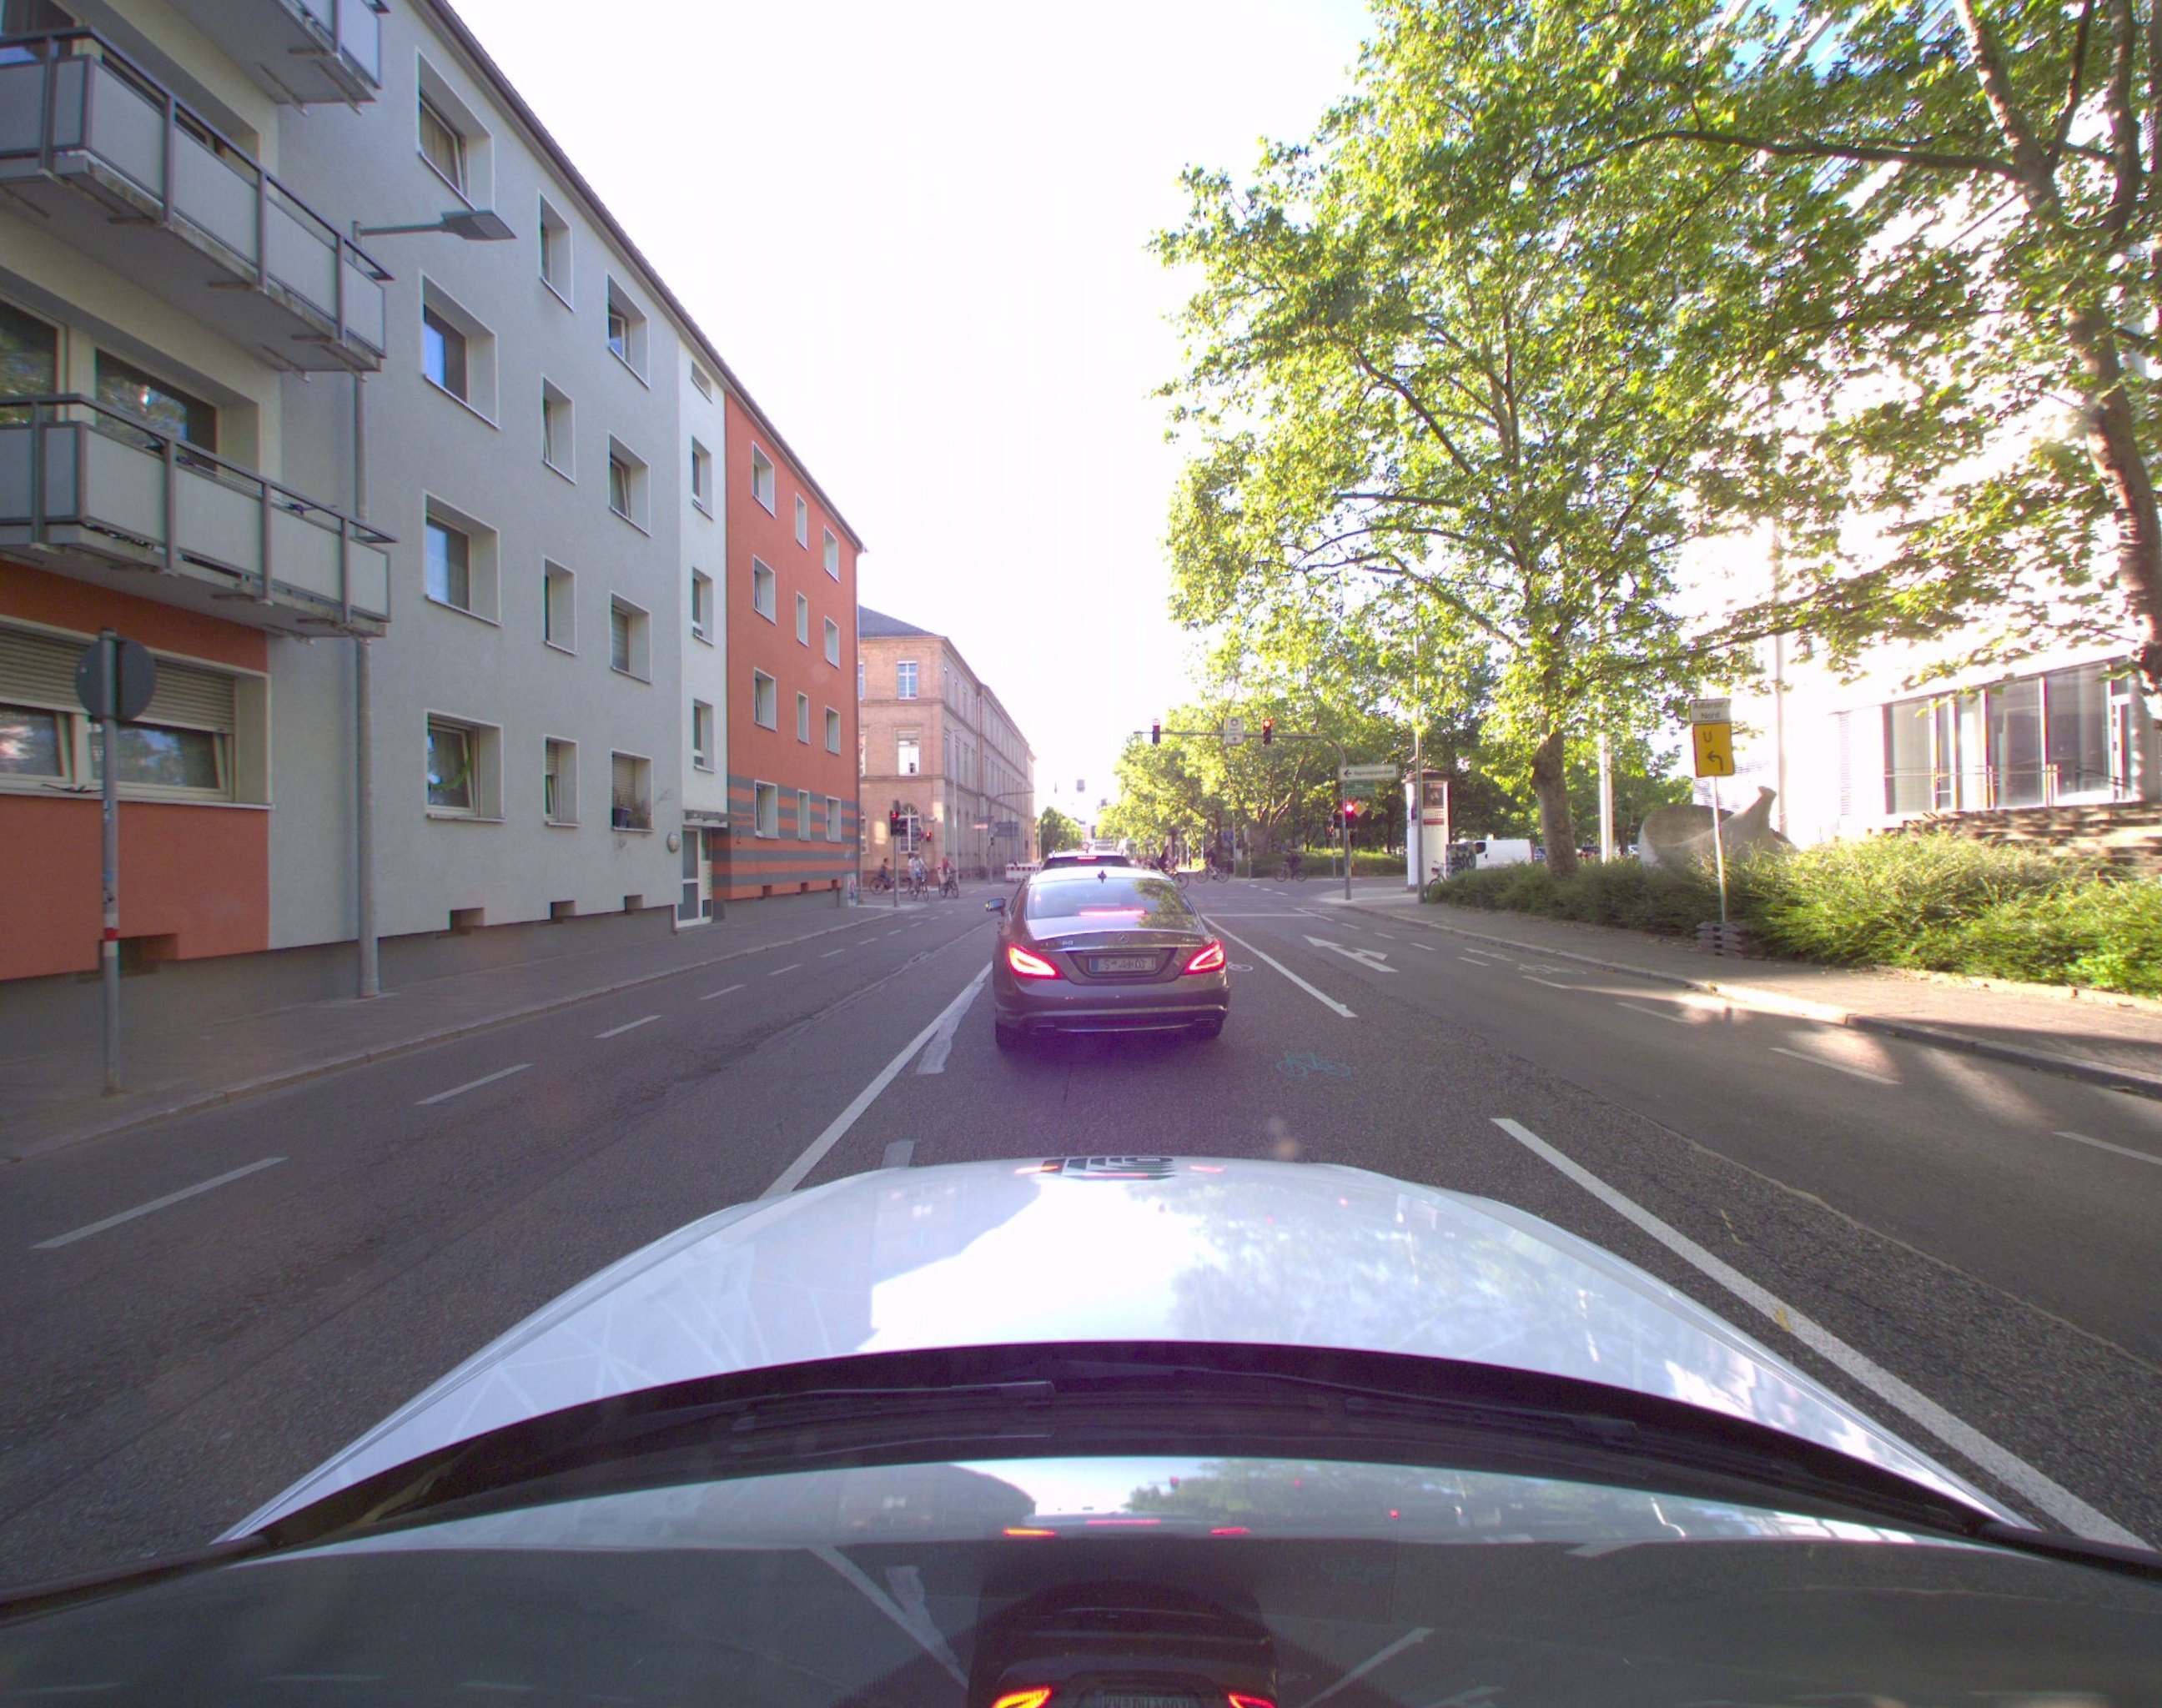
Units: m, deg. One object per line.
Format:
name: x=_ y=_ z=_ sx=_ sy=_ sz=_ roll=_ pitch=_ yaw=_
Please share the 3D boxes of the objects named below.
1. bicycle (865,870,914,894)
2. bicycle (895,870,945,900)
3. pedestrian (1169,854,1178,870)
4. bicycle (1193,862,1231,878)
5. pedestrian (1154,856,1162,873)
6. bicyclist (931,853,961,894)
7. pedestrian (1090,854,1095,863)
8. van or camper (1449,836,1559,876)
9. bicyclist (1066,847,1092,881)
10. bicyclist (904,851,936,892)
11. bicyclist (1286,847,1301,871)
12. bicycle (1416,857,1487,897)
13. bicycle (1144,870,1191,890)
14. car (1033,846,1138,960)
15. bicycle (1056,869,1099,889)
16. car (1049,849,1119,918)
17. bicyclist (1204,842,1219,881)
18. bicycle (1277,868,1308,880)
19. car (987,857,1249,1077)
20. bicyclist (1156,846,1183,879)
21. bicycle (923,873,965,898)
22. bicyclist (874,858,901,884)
bicycle: x=-8.510 y=1.237 z=36.256 sx=1.971 sy=1.027 sz=0.652 roll=-1 pitch=0 yaw=4
bicycle: x=-6.203 y=1.176 z=31.282 sx=1.812 sy=1.079 sz=0.871 roll=-1 pitch=0 yaw=35
pedestrian: x=8.087 y=0.713 z=71.191 sx=0.646 sy=1.433 sz=0.659 roll=-1 pitch=0 yaw=1
bicycle: x=6.919 y=0.835 z=43.025 sx=1.889 sy=0.837 sz=0.457 roll=-1 pitch=0 yaw=-6
pedestrian: x=6.797 y=0.921 z=71.763 sx=0.646 sy=1.503 sz=0.637 roll=-1 pitch=0 yaw=1
bicyclist: x=-5.351 y=0.757 z=32.243 sx=0.691 sy=1.578 sz=0.970 roll=-1 pitch=0 yaw=-44
pedestrian: x=1.993 y=0.799 z=138.777 sx=0.799 sy=1.576 sz=0.845 roll=-1 pitch=0 yaw=1
van or camper: x=21.577 y=0.093 z=41.668 sx=4.565 sy=1.941 sz=1.999 roll=-1 pitch=0 yaw=-1
bicyclist: x=-0.074 y=0.474 z=37.235 sx=1.069 sy=1.519 sz=0.718 roll=-1 pitch=0 yaw=6
bicyclist: x=-6.196 y=0.655 z=31.280 sx=0.828 sy=1.555 sz=0.850 roll=-1 pitch=0 yaw=35
bicyclist: x=11.496 y=0.268 z=44.048 sx=0.701 sy=1.260 sz=0.458 roll=-1 pitch=0 yaw=5
bicycle: x=10.681 y=0.665 z=23.525 sx=1.796 sy=1.097 sz=0.510 roll=-1 pitch=0 yaw=4
bicycle: x=3.770 y=1.128 z=35.599 sx=1.966 sy=0.836 sz=0.677 roll=-1 pitch=0 yaw=3
car: x=0.067 y=0.717 z=13.831 sx=1.513 sy=1.647 sz=3.879 roll=-1 pitch=0 yaw=0
bicycle: x=-0.147 y=1.149 z=37.243 sx=1.884 sy=0.882 sz=0.726 roll=-1 pitch=0 yaw=5
car: x=0.133 y=0.775 z=23.377 sx=1.813 sy=1.762 sz=4.002 roll=-1 pitch=0 yaw=2
bicyclist: x=6.916 y=0.397 z=43.040 sx=0.651 sy=2.013 sz=0.439 roll=-1 pitch=0 yaw=-6
bicycle: x=11.436 y=1.076 z=44.064 sx=1.579 sy=0.635 sz=0.496 roll=-1 pitch=0 yaw=5
car: x=0.076 y=0.774 z=7.787 sx=1.801 sy=1.456 sz=4.342 roll=-1 pitch=0 yaw=-5
bicyclist: x=3.854 y=0.365 z=35.605 sx=1.099 sy=1.403 sz=0.658 roll=-1 pitch=0 yaw=1
bicycle: x=-5.430 y=1.233 z=32.312 sx=0.700 sy=0.929 sz=1.840 roll=-1 pitch=0 yaw=-45
bicyclist: x=-8.617 y=0.755 z=36.269 sx=0.987 sy=1.154 sz=0.621 roll=-1 pitch=0 yaw=4
